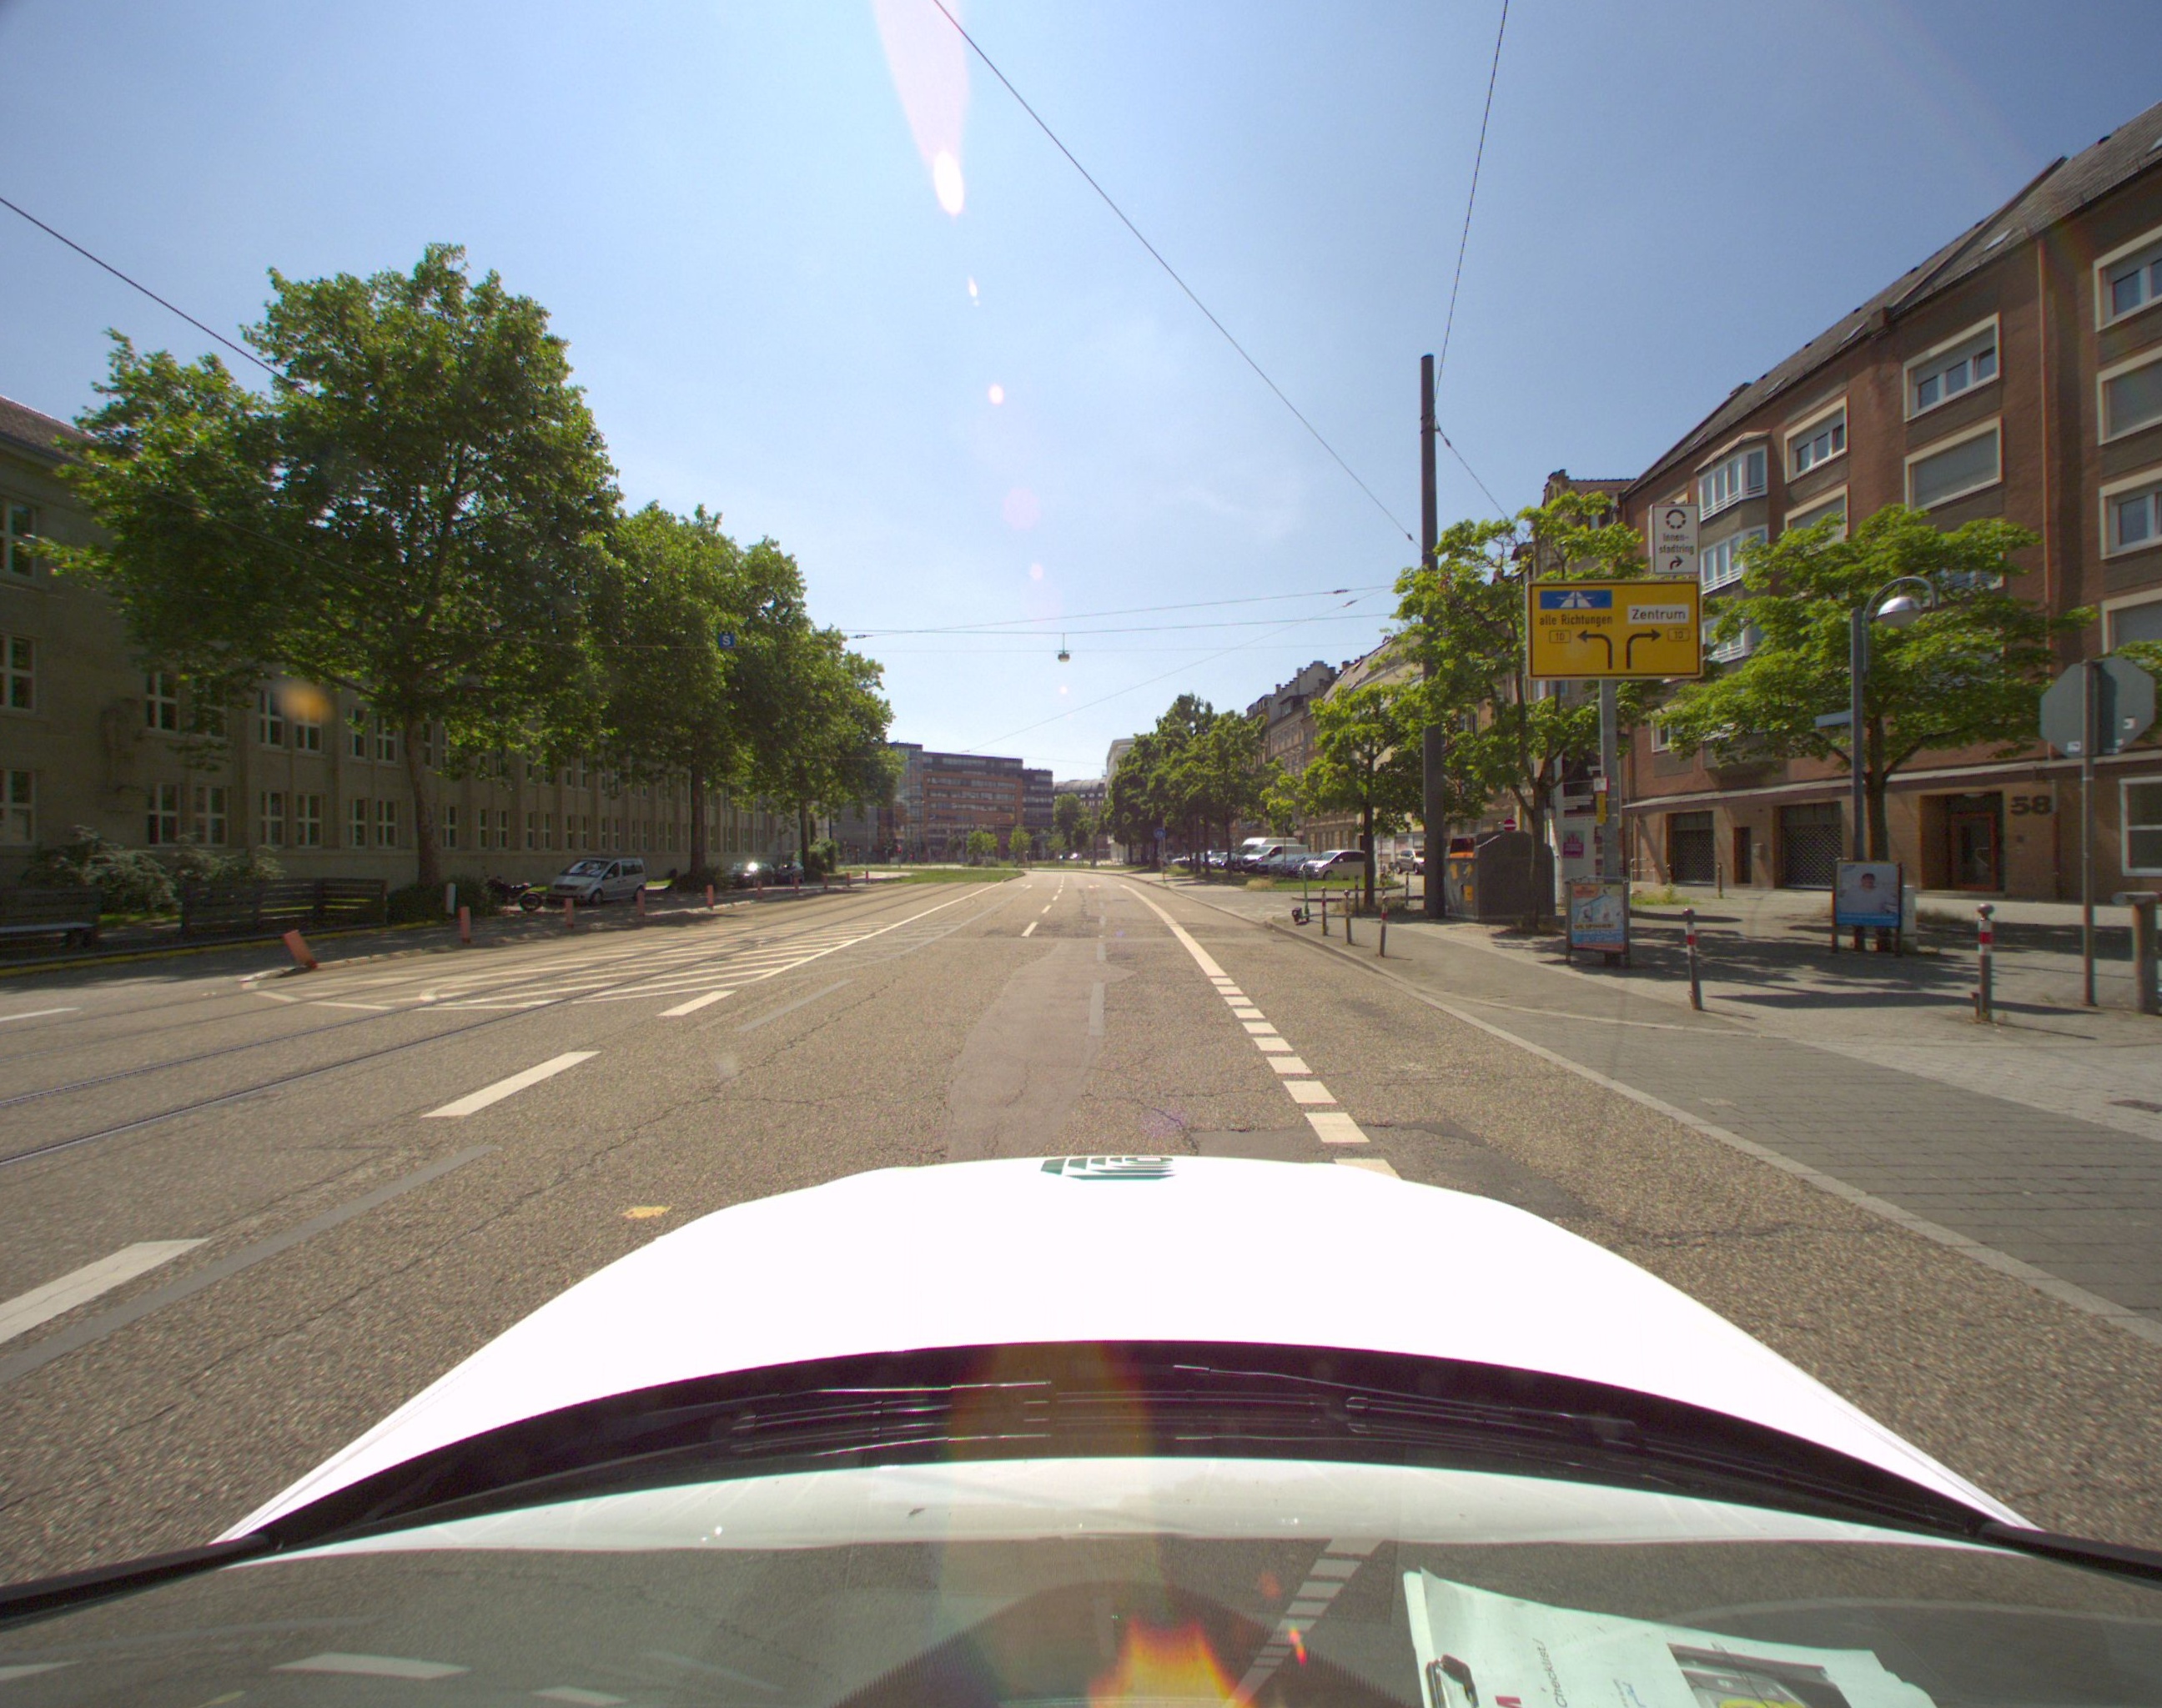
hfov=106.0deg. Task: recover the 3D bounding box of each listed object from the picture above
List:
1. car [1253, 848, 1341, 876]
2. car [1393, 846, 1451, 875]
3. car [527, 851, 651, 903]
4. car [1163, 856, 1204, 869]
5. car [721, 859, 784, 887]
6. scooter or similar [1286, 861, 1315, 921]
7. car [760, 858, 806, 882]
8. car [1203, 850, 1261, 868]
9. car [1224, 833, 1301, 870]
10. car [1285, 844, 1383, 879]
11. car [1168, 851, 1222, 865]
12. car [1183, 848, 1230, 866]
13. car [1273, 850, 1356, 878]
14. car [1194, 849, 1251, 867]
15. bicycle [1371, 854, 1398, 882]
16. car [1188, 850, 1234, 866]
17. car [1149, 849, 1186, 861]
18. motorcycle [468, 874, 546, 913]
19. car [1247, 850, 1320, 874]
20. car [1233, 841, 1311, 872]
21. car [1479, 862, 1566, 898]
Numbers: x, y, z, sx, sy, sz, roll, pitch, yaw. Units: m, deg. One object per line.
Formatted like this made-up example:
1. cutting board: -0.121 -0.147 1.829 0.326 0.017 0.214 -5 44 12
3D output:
1. car: 12.253 0.471 46.151 4.641 1.497 1.949 1 -1 -26
2. car: 21.092 0.409 50.591 1.814 1.684 3.996 1 -1 -2
3. car: -18.364 0.811 30.666 1.987 1.811 4.301 1 -1 1
4. car: 10.929 0.939 86.848 4.004 1.313 1.957 1 -1 -23
5. car: -18.178 1.009 45.316 1.757 1.483 4.322 1 -1 0
6. scooter or similar: 4.838 0.806 17.933 0.387 1.214 1.186 -4 0 23
7. car: -18.470 0.979 50.622 1.585 1.424 4.316 1 -1 -5
8. car: 11.890 0.403 64.044 4.448 1.338 1.952 1 -1 -34
9. car: 12.582 -0.145 56.274 5.578 2.461 2.213 1 -1 -38
10. car: 12.406 0.398 39.928 4.417 1.632 1.985 1 -1 -23
11. car: 11.105 0.374 79.217 4.792 1.313 2.133 1 -1 -23
12. car: 11.871 0.260 77.052 4.009 1.662 1.955 1 -1 -27
13. car: 12.307 0.549 42.929 4.003 1.399 1.810 1 -1 -23
14. car: 11.756 0.370 67.507 4.715 1.427 1.950 1 -1 -38
15. bicycle: 13.542 0.616 36.319 0.732 1.193 2.375 0 -1 30
16. car: 11.827 0.365 73.978 4.015 1.400 1.694 1 -1 -34
17. car: 11.856 0.197 111.558 4.887 1.601 1.819 1 -1 -29
18. motorcycle: -18.204 1.266 25.887 1.878 1.068 0.720 7 -4 -32
19. car: 12.237 0.498 49.301 4.003 1.387 1.810 1 -1 -23
20. car: 12.419 0.179 52.819 4.863 1.973 2.056 1 -1 -30
21. car: 20.585 1.165 38.222 1.983 1.600 4.606 0 -1 6
